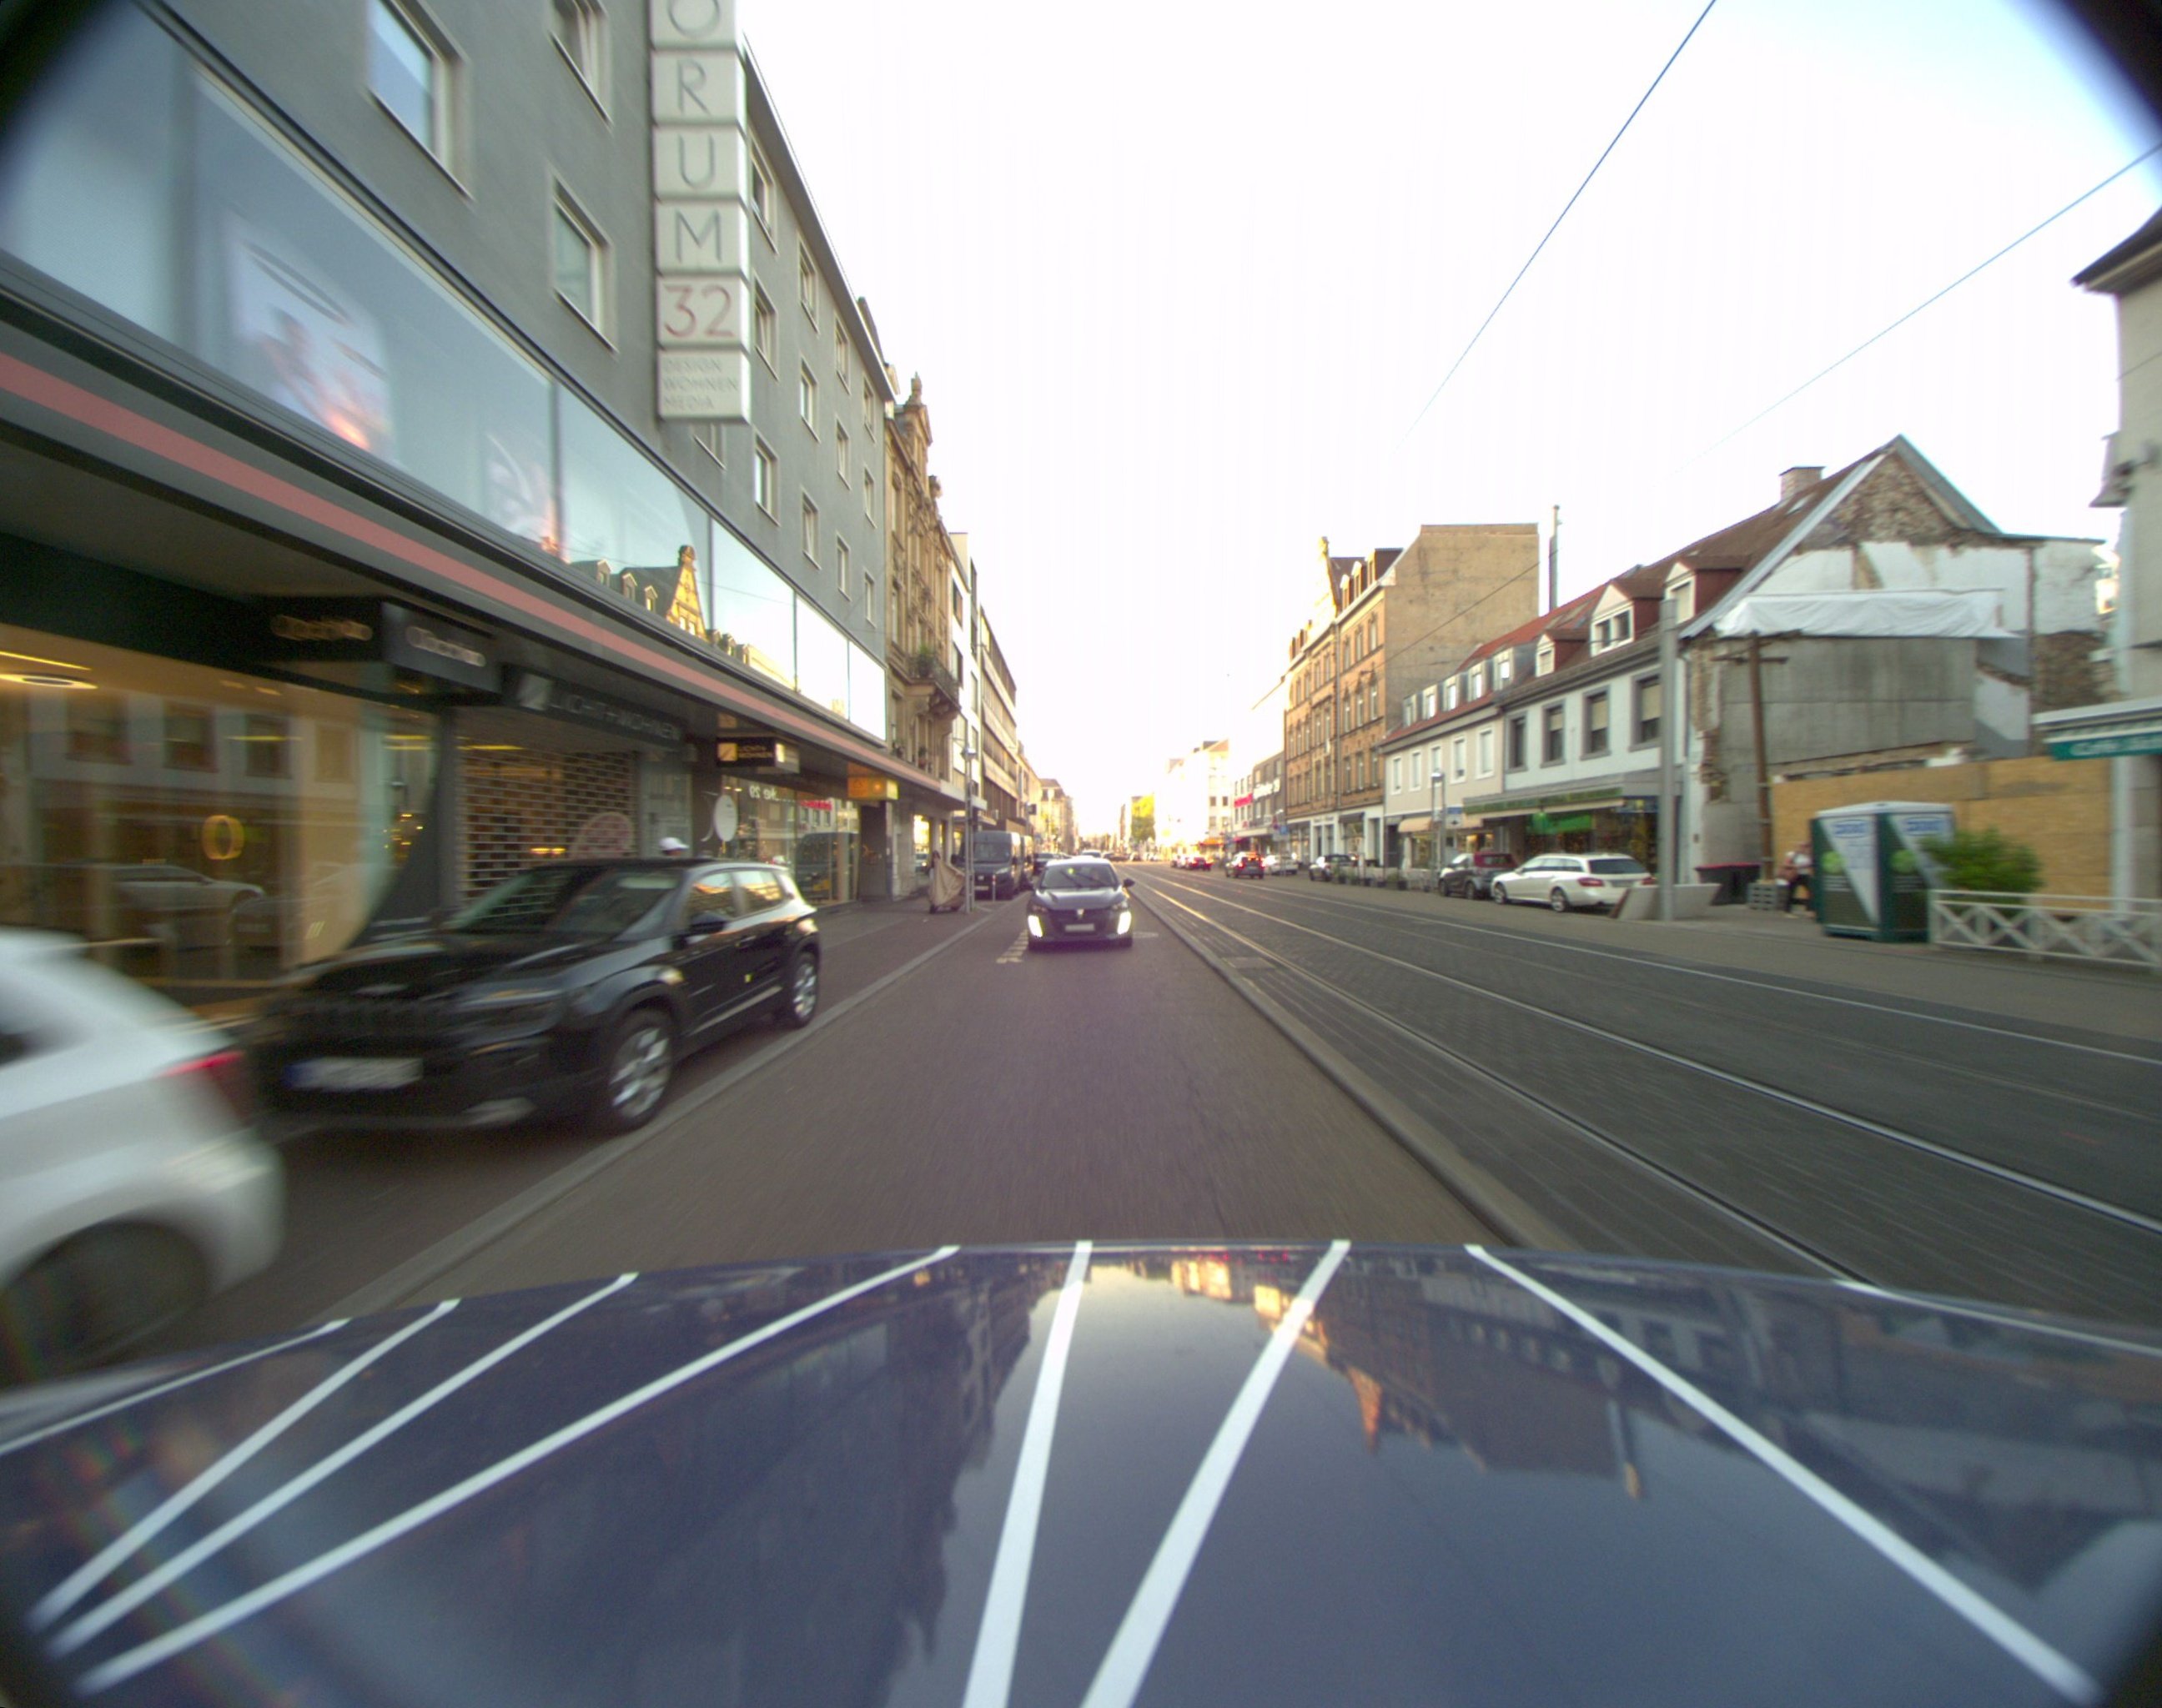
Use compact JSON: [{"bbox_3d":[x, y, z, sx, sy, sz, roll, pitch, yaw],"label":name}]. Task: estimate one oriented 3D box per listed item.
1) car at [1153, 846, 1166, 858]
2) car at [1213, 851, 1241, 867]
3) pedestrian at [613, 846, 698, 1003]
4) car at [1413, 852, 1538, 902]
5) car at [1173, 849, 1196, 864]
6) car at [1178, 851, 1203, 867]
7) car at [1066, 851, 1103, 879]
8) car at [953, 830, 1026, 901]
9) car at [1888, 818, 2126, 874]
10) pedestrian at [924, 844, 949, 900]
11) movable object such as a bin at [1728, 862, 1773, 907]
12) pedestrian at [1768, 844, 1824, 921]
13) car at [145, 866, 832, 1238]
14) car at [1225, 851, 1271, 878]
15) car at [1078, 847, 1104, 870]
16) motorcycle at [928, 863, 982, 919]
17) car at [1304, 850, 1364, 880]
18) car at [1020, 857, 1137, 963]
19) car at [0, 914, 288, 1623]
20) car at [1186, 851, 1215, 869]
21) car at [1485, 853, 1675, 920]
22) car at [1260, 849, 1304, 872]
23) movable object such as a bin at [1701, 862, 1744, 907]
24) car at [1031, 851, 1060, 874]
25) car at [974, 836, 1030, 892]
[{"bbox_3d":[14.081,-0.369,136.332,1.998,2.024,4.000,0,0,1],"label":"car"},{"bbox_3d":[14.160,0.478,73.995,1.998,1.543,4.000,0,0,1],"label":"car"},{"bbox_3d":[-4.864,0.782,8.724,0.610,1.743,0.605,0,1,1],"label":"pedestrian"},{"bbox_3d":[13.211,0.702,25.787,1.914,1.535,4.552,0,0,1],"label":"car"},{"bbox_3d":[11.060,0.201,81.254,1.998,1.543,4.000,0,0,1],"label":"car"},{"bbox_3d":[10.750,0.444,74.885,1.998,1.543,4.000,0,0,1],"label":"car"},{"bbox_3d":[0.205,0.590,42.622,1.998,1.450,4.000,-1,1,0],"label":"car"},{"bbox_3d":[-3.262,0.369,28.155,2.046,2.371,5.584,0,0,0],"label":"car"},{"bbox_3d":[27.445,-0.227,22.806,1.816,1.503,4.432,0,0,3],"label":"car"},{"bbox_3d":[-5.221,0.628,27.514,0.711,2.002,0.824,0,1,1],"label":"pedestrian"},{"bbox_3d":[17.237,0.772,19.569,0.619,1.115,0.615,0,1,5],"label":"movable object such as a bin"},{"bbox_3d":[15.293,0.604,16.264,0.600,1.625,0.615,0,1,5],"label":"pedestrian"},{"bbox_3d":[-3.294,0.918,5.398,1.673,1.566,4.034,0,0,1],"label":"car"},{"bbox_3d":[10.141,0.612,46.409,1.998,1.543,4.000,0,0,1],"label":"car"},{"bbox_3d":[0.774,0.331,61.501,1.999,1.805,3.999,-1,1,-1],"label":"car"},{"bbox_3d":[-3.285,0.935,19.918,0.574,1.369,1.512,0,1,30],"label":"motorcycle"},{"bbox_3d":[13.580,0.544,41.022,1.998,1.543,4.000,0,0,1],"label":"car"},{"bbox_3d":[-0.045,0.863,13.748,1.732,1.513,4.333,-2,0,0],"label":"car"},{"bbox_3d":[-3.302,0.963,0.380,1.682,1.534,3.886,1,0,2],"label":"car"},{"bbox_3d":[10.593,0.542,67.590,1.998,1.543,4.000,0,0,1],"label":"car"},{"bbox_3d":[13.131,0.767,20.460,1.998,1.535,4.878,-1,0,1],"label":"car"},{"bbox_3d":[13.917,0.433,52.964,1.998,1.543,4.206,0,0,1],"label":"car"},{"bbox_3d":[16.580,0.781,19.651,0.619,1.115,0.615,0,1,5],"label":"movable object such as a bin"},{"bbox_3d":[-2.659,0.584,57.532,1.999,1.627,5.243,0,0,0],"label":"car"},{"bbox_3d":[-3.541,0.401,34.957,1.999,2.390,5.563,0,0,0],"label":"car"}]
